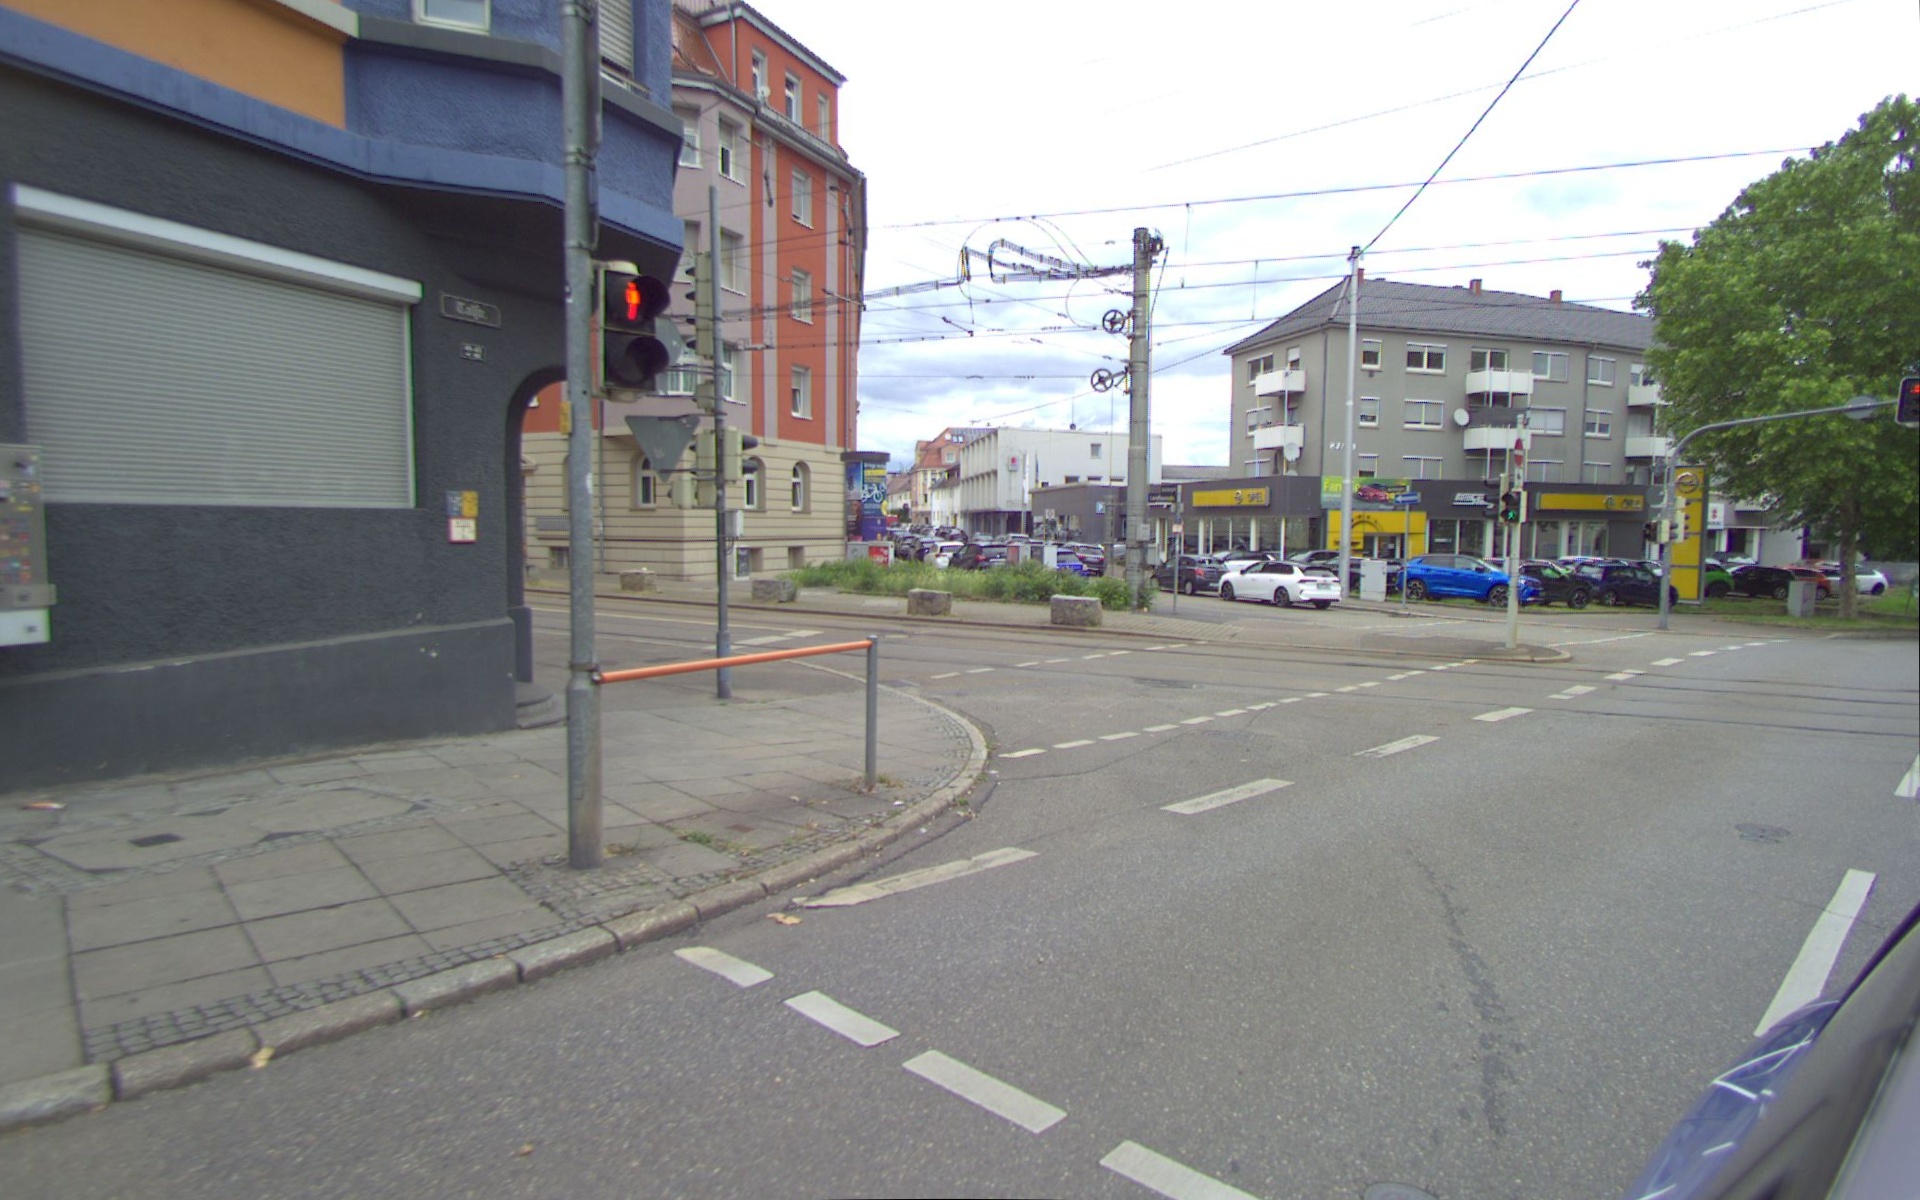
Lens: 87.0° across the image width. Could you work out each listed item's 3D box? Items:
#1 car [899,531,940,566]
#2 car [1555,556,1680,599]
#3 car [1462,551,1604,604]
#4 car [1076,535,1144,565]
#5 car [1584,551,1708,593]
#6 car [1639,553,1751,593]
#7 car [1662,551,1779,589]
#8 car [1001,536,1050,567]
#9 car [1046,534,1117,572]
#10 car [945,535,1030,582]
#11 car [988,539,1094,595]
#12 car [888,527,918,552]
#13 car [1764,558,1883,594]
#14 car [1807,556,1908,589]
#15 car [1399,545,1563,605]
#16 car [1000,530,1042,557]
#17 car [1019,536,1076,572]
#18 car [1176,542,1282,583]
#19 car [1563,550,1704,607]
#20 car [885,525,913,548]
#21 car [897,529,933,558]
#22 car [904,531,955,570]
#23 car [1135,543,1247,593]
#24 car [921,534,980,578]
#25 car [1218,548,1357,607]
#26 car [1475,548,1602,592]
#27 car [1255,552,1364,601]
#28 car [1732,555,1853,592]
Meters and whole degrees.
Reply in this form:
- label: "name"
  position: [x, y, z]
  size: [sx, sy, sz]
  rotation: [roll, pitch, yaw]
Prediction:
- label: "car"
  position: [-2.221, -2.821, 54.895]
  size: [1.880, 1.652, 4.149]
  rotation: [3, 4, -6]
- label: "car"
  position: [27.754, -0.957, 42.840]
  size: [1.828, 1.568, 4.002]
  rotation: [0, 4, -36]
- label: "car"
  position: [19.897, -0.790, 35.211]
  size: [3.917, 1.494, 1.834]
  rotation: [4, 3, -10]
- label: "car"
  position: [9.252, -3.106, 62.616]
  size: [3.817, 1.553, 1.722]
  rotation: [3, 4, -5]
- label: "car"
  position: [29.621, -1.242, 43.792]
  size: [1.828, 1.568, 4.002]
  rotation: [0, 4, -36]
- label: "car"
  position: [32.470, -1.219, 44.812]
  size: [3.566, 1.571, 1.612]
  rotation: [4, 3, 19]
- label: "car"
  position: [35.890, -1.446, 47.876]
  size: [3.954, 1.523, 1.850]
  rotation: [4, 3, 22]
- label: "car"
  position: [3.734, -2.822, 58.275]
  size: [1.879, 1.553, 4.151]
  rotation: [3, 4, -9]
- label: "car"
  position: [5.678, -2.244, 47.731]
  size: [1.878, 1.553, 4.153]
  rotation: [2, 4, -14]
- label: "car"
  position: [0.987, -1.624, 38.991]
  size: [1.878, 1.553, 4.154]
  rotation: [2, 4, -19]
- label: "car"
  position: [2.591, -1.126, 33.474]
  size: [1.878, 1.553, 4.154]
  rotation: [2, 4, -20]
- label: "car"
  position: [-4.246, -4.520, 75.125]
  size: [1.879, 1.652, 4.150]
  rotation: [3, 4, -7]
- label: "car"
  position: [42.645, -1.195, 50.056]
  size: [3.940, 1.523, 1.857]
  rotation: [3, 3, 13]
- label: "car"
  position: [47.563, -1.457, 53.691]
  size: [3.554, 1.523, 1.791]
  rotation: [3, 3, 5]
- label: "car"
  position: [16.781, -0.838, 32.753]
  size: [1.798, 1.596, 4.255]
  rotation: [1, 5, -42]
- label: "car"
  position: [3.819, -3.598, 64.328]
  size: [1.879, 1.553, 4.150]
  rotation: [3, 4, -7]
- label: "car"
  position: [4.570, -2.488, 53.602]
  size: [1.879, 1.665, 4.152]
  rotation: [2, 4, -10]
- label: "car"
  position: [11.813, -1.644, 44.467]
  size: [4.031, 1.553, 1.799]
  rotation: [2, 4, -15]
- label: "car"
  position: [25.291, -0.830, 38.079]
  size: [4.083, 1.625, 1.836]
  rotation: [4, 8, -11]
- label: "car"
  position: [-4.887, -5.055, 80.658]
  size: [1.879, 1.652, 4.150]
  rotation: [3, 4, -7]
- label: "car"
  position: [-2.867, -3.597, 64.186]
  size: [1.879, 1.652, 4.150]
  rotation: [3, 4, -7]
- label: "car"
  position: [-1.538, -2.440, 49.295]
  size: [1.879, 1.652, 4.151]
  rotation: [3, 4, -9]
- label: "car"
  position: [8.380, -1.217, 37.102]
  size: [1.878, 1.553, 4.153]
  rotation: [2, 4, -21]
- label: "car"
  position: [-0.472, -1.952, 43.817]
  size: [1.879, 1.652, 4.151]
  rotation: [3, 4, -9]
- label: "car"
  position: [10.325, -0.748, 32.246]
  size: [1.878, 1.553, 4.153]
  rotation: [2, 4, -23]
- label: "car"
  position: [23.412, -1.253, 41.086]
  size: [1.826, 1.568, 4.006]
  rotation: [1, 4, -32]
- label: "car"
  position: [14.739, -0.989, 42.705]
  size: [4.157, 1.801, 1.717]
  rotation: [1, 4, -24]
- label: "car"
  position: [39.720, -1.298, 48.387]
  size: [3.936, 1.523, 1.858]
  rotation: [3, 3, 10]
